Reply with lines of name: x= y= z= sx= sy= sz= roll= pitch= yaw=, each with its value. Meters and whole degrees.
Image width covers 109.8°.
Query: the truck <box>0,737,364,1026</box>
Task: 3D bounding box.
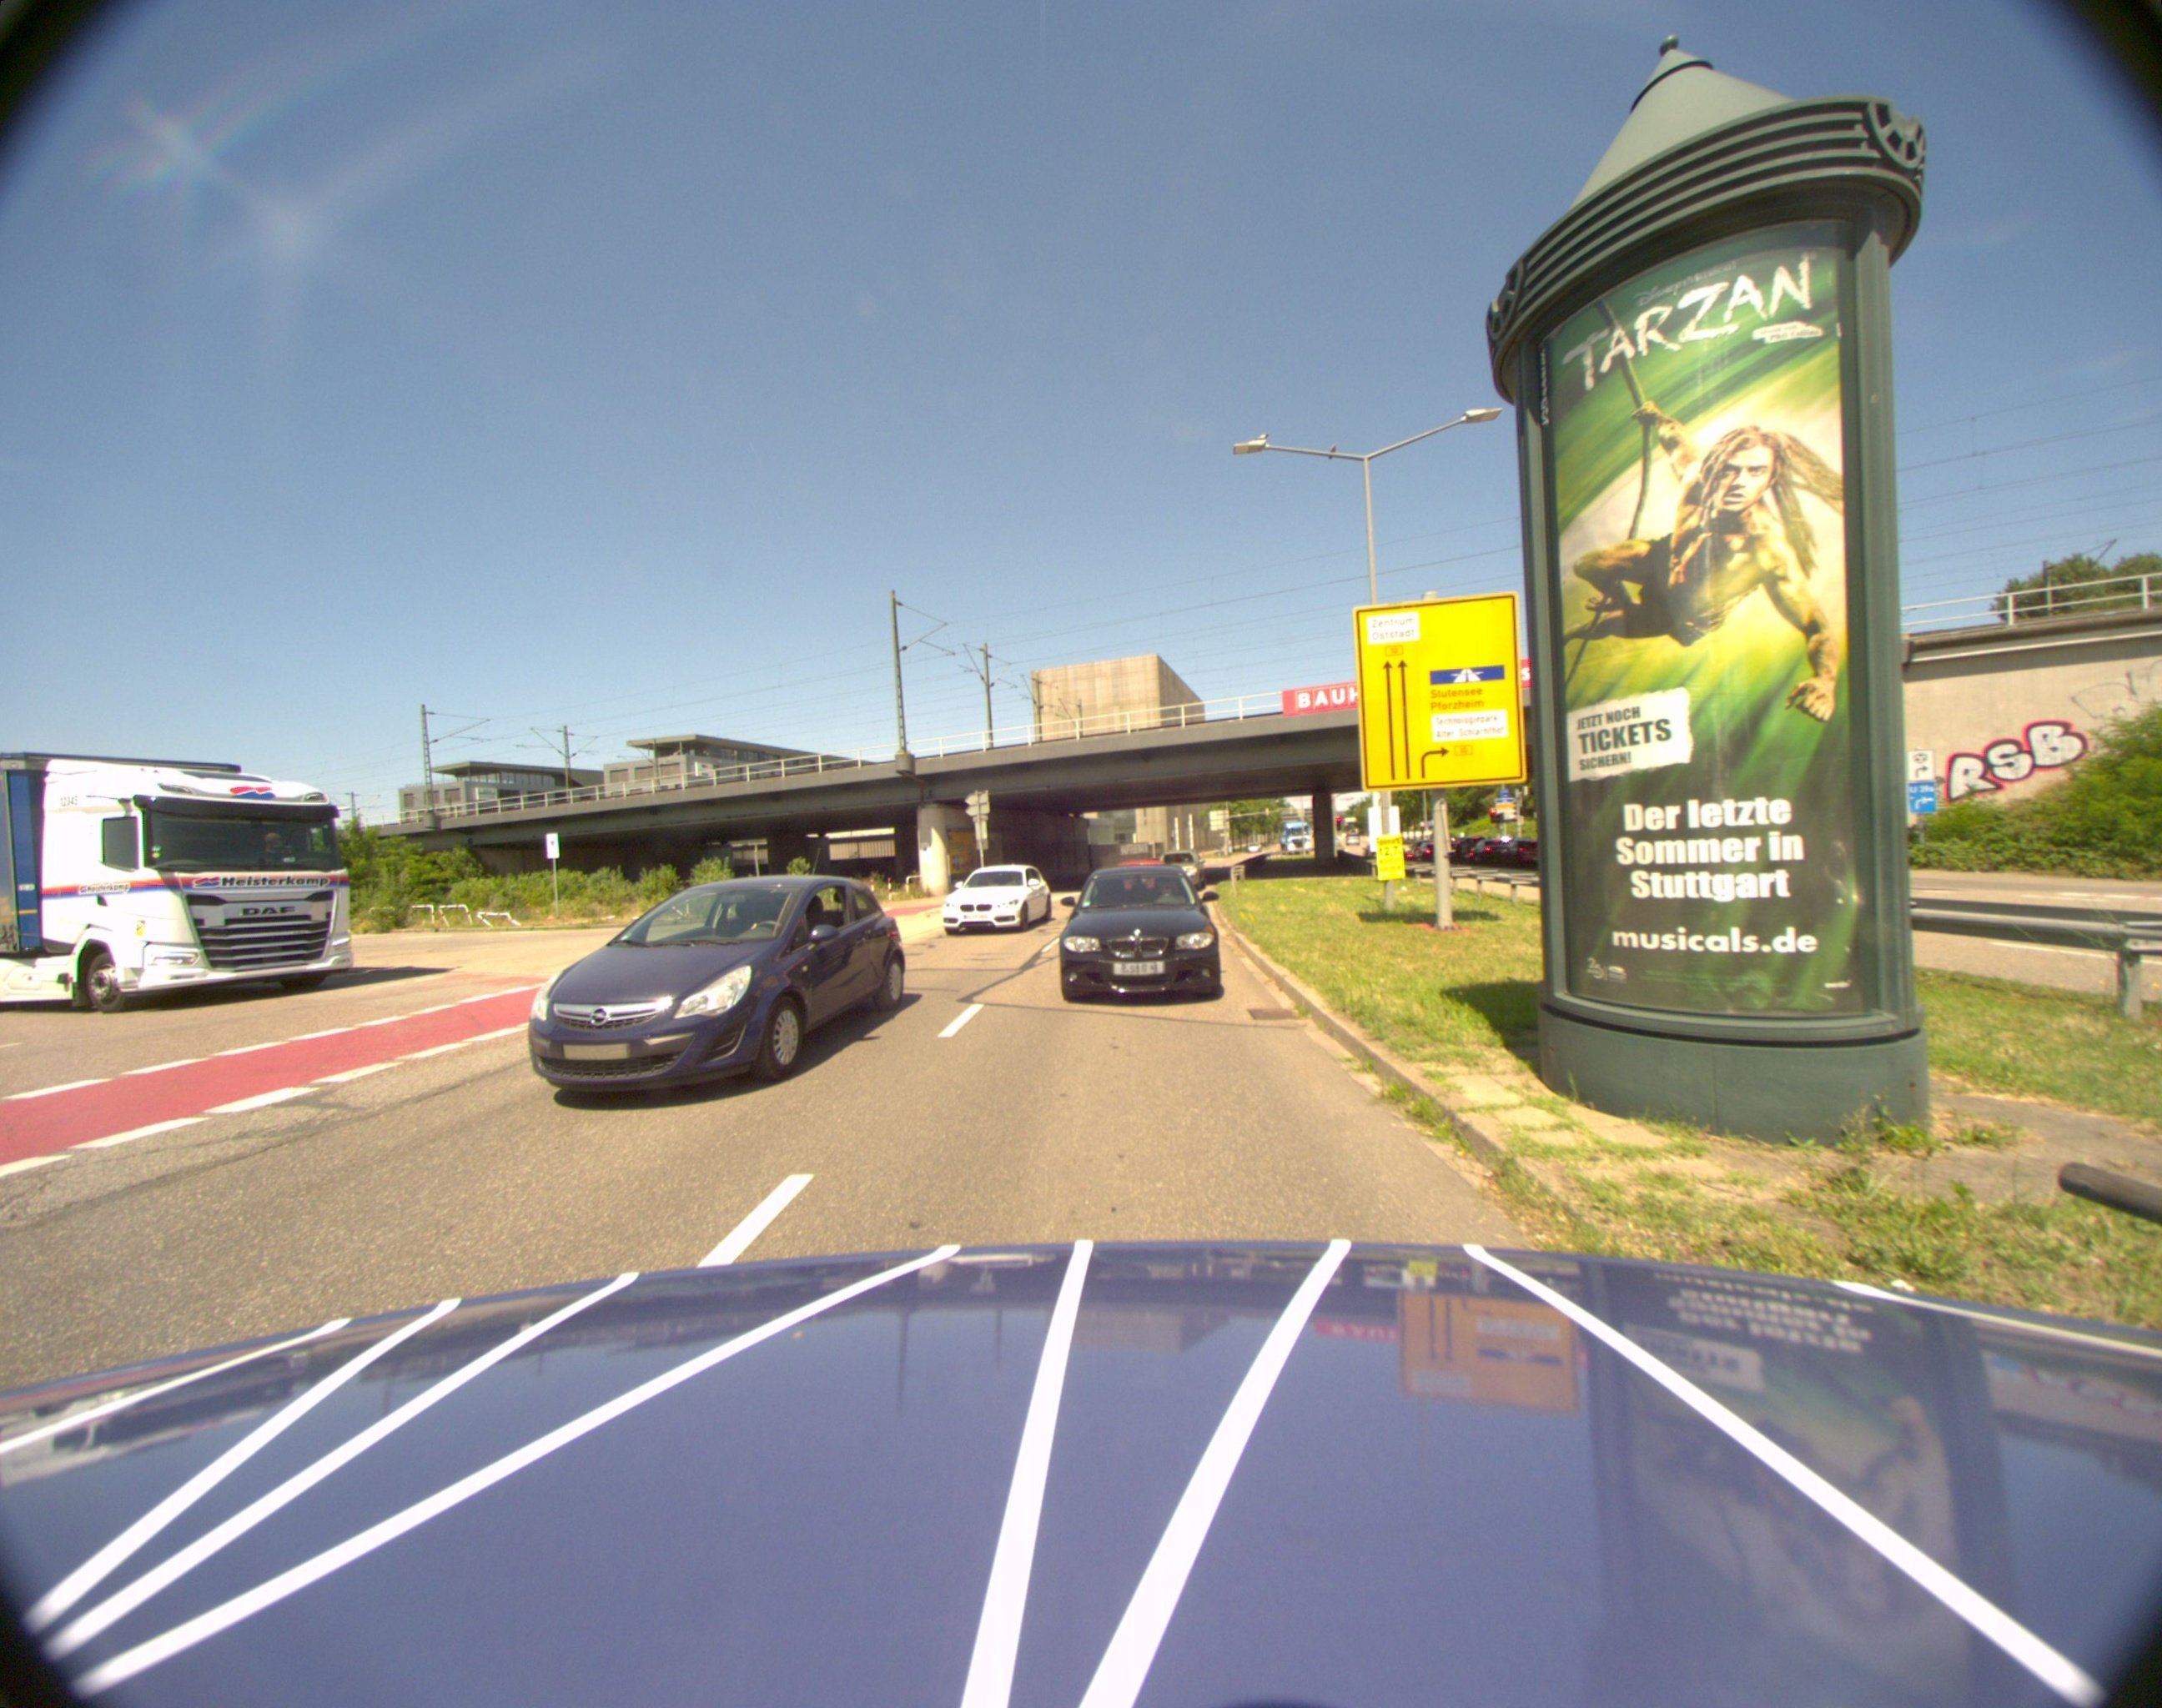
truck: x=-15.650 y=0.478 z=12.834 sx=5.750 sy=4.078 sz=2.579 roll=-2 pitch=1 yaw=19

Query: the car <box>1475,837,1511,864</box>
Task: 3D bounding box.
car: x=25.015 y=-0.246 z=46.235 sx=1.571 sy=1.494 sz=3.412 roll=-2 pitch=1 yaw=23

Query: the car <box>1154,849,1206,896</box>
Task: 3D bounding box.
car: x=4.108 y=0.709 z=31.051 sx=1.844 sy=1.685 sz=3.702 roll=-2 pitch=0 yaw=10

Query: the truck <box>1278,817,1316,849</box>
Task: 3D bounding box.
truck: x=24.672 y=-2.395 z=87.005 sx=3.019 sy=3.397 sz=6.568 roll=-2 pitch=0 yaw=6

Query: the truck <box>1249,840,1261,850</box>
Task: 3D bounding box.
truck: x=25.743 y=-1.337 z=112.472 sx=1.729 sy=1.493 sz=4.003 roll=-2 pitch=0 yaw=12

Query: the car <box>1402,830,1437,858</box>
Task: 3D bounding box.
car: x=24.115 y=-0.752 z=54.191 sx=1.904 sy=1.849 sz=4.005 roll=-2 pitch=1 yaw=20

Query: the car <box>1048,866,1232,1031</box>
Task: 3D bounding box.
car: x=0.642 y=0.931 z=9.216 sx=1.681 sy=1.409 sz=4.056 roll=-2 pitch=0 yaw=2

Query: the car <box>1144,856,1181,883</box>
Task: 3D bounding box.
car: x=5.025 y=0.929 z=46.399 sx=1.715 sy=1.434 sz=4.003 roll=-2 pitch=0 yaw=13

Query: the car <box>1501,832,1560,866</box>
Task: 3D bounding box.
car: x=23.804 y=-0.270 z=40.374 sx=1.774 sy=1.658 sz=4.019 roll=-2 pitch=0 yaw=17

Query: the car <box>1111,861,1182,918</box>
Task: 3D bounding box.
car: x=1.910 y=0.911 z=21.200 sx=1.645 sy=1.390 sz=4.055 roll=-1 pitch=0 yaw=9

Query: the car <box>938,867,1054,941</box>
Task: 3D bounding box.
car: x=-1.825 y=1.070 z=17.538 sx=1.762 sy=1.435 sz=4.055 roll=-1 pitch=0 yaw=7

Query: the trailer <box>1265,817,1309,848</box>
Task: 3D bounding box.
trailer: x=25.163 y=-2.522 z=93.687 sx=2.962 sy=3.353 sz=13.899 roll=-2 pitch=0 yaw=6

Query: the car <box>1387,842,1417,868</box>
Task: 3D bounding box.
car: x=17.712 y=0.038 z=41.987 sx=1.410 sy=1.311 sz=3.266 roll=-2 pitch=1 yaw=23

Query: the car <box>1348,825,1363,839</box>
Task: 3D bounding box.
car: x=42.658 y=-3.401 z=117.980 sx=1.996 sy=2.002 sz=4.005 roll=-2 pitch=1 yaw=21

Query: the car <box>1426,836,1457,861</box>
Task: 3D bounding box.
car: x=22.468 y=-0.351 z=47.462 sx=1.617 sy=1.468 sz=3.438 roll=-2 pitch=1 yaw=23

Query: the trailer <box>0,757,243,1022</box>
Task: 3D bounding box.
trailer: x=-22.192 y=0.869 z=15.669 sx=13.873 sy=4.066 sz=2.504 roll=-3 pitch=0 yaw=25

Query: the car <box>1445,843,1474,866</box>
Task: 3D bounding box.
car: x=20.978 y=0.029 z=42.132 sx=1.269 sy=1.178 sz=2.782 roll=-2 pitch=1 yaw=23

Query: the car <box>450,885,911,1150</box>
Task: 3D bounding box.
car: x=-2.879 y=1.077 z=6.546 sx=1.650 sy=1.435 sz=3.892 roll=-2 pitch=-1 yaw=4

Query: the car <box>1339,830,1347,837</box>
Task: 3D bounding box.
car: x=79.068 y=-6.070 z=229.342 sx=1.996 sy=2.002 sz=4.005 roll=-2 pitch=1 yaw=18
